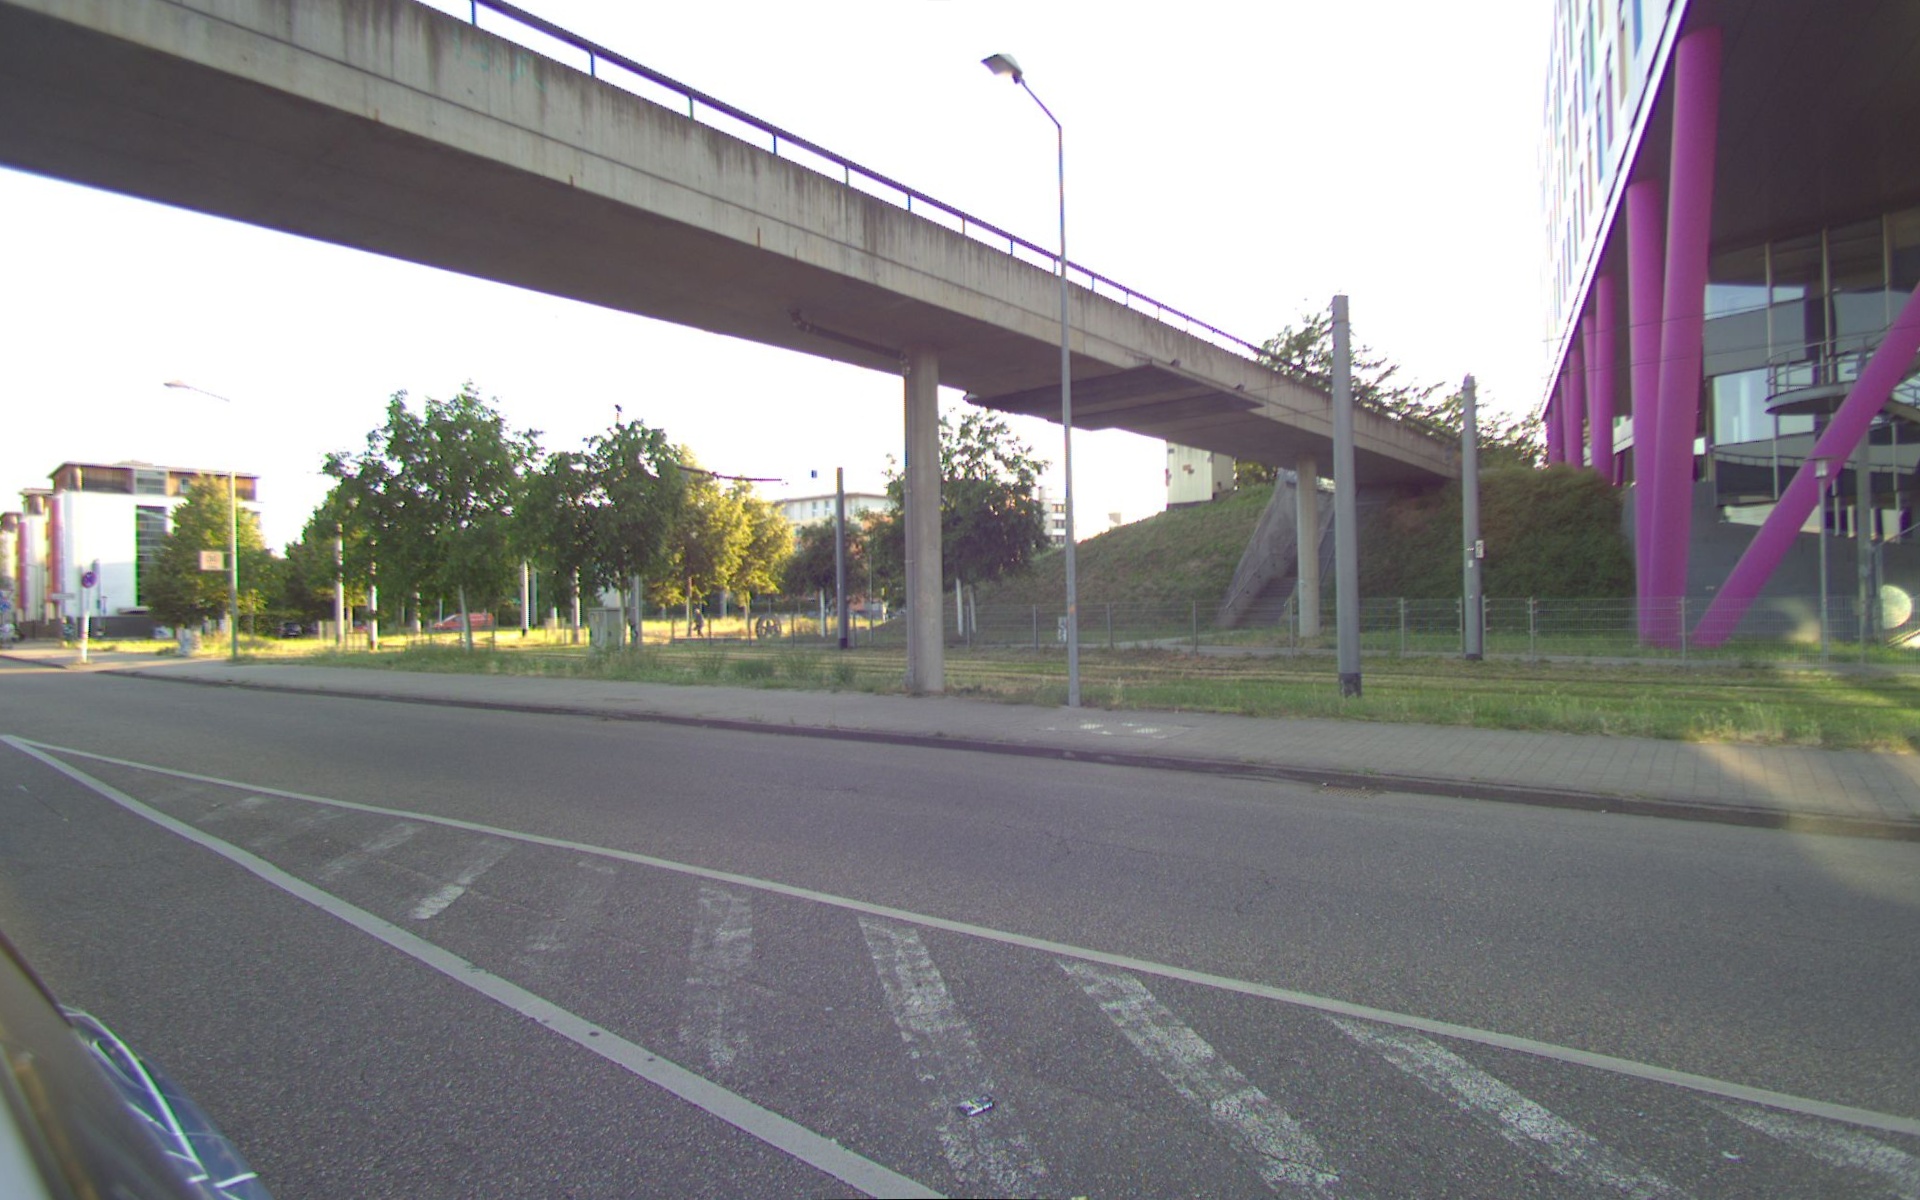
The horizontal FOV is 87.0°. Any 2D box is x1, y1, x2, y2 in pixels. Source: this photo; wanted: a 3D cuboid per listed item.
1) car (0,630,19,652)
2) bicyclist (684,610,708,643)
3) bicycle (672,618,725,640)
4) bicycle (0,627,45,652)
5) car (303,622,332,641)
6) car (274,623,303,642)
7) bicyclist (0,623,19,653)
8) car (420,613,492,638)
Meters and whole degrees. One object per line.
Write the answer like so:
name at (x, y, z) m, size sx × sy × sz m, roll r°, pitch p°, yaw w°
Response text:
car at (-80.507, 3.409, 83.620) m, size 2.000 × 1.741 × 3.944 m, roll -2°, pitch -1°, yaw 42°
bicyclist at (-13.325, 1.325, 51.009) m, size 0.716 × 1.644 × 0.899 m, roll -2°, pitch -1°, yaw 36°
bicycle at (-13.175, 1.470, 51.157) m, size 0.654 × 1.016 × 2.808 m, roll -2°, pitch -1°, yaw 37°
bicycle at (-61.348, 2.565, 65.708) m, size 0.875 × 1.503 × 3.322 m, roll -1°, pitch -1°, yaw -1°
car at (-55.294, 2.736, 87.088) m, size 1.913 × 1.541 × 4.009 m, roll -1°, pitch -1°, yaw -36°
car at (-56.897, 2.744, 85.758) m, size 1.913 × 1.541 × 4.009 m, roll -1°, pitch -1°, yaw -36°
bicyclist at (-61.302, 2.447, 64.947) m, size 0.871 × 1.890 × 1.034 m, roll -1°, pitch -1°, yaw 0°
car at (-44.638, 2.235, 89.657) m, size 5.438 × 2.029 × 2.004 m, roll -1°, pitch -1°, yaw -39°
